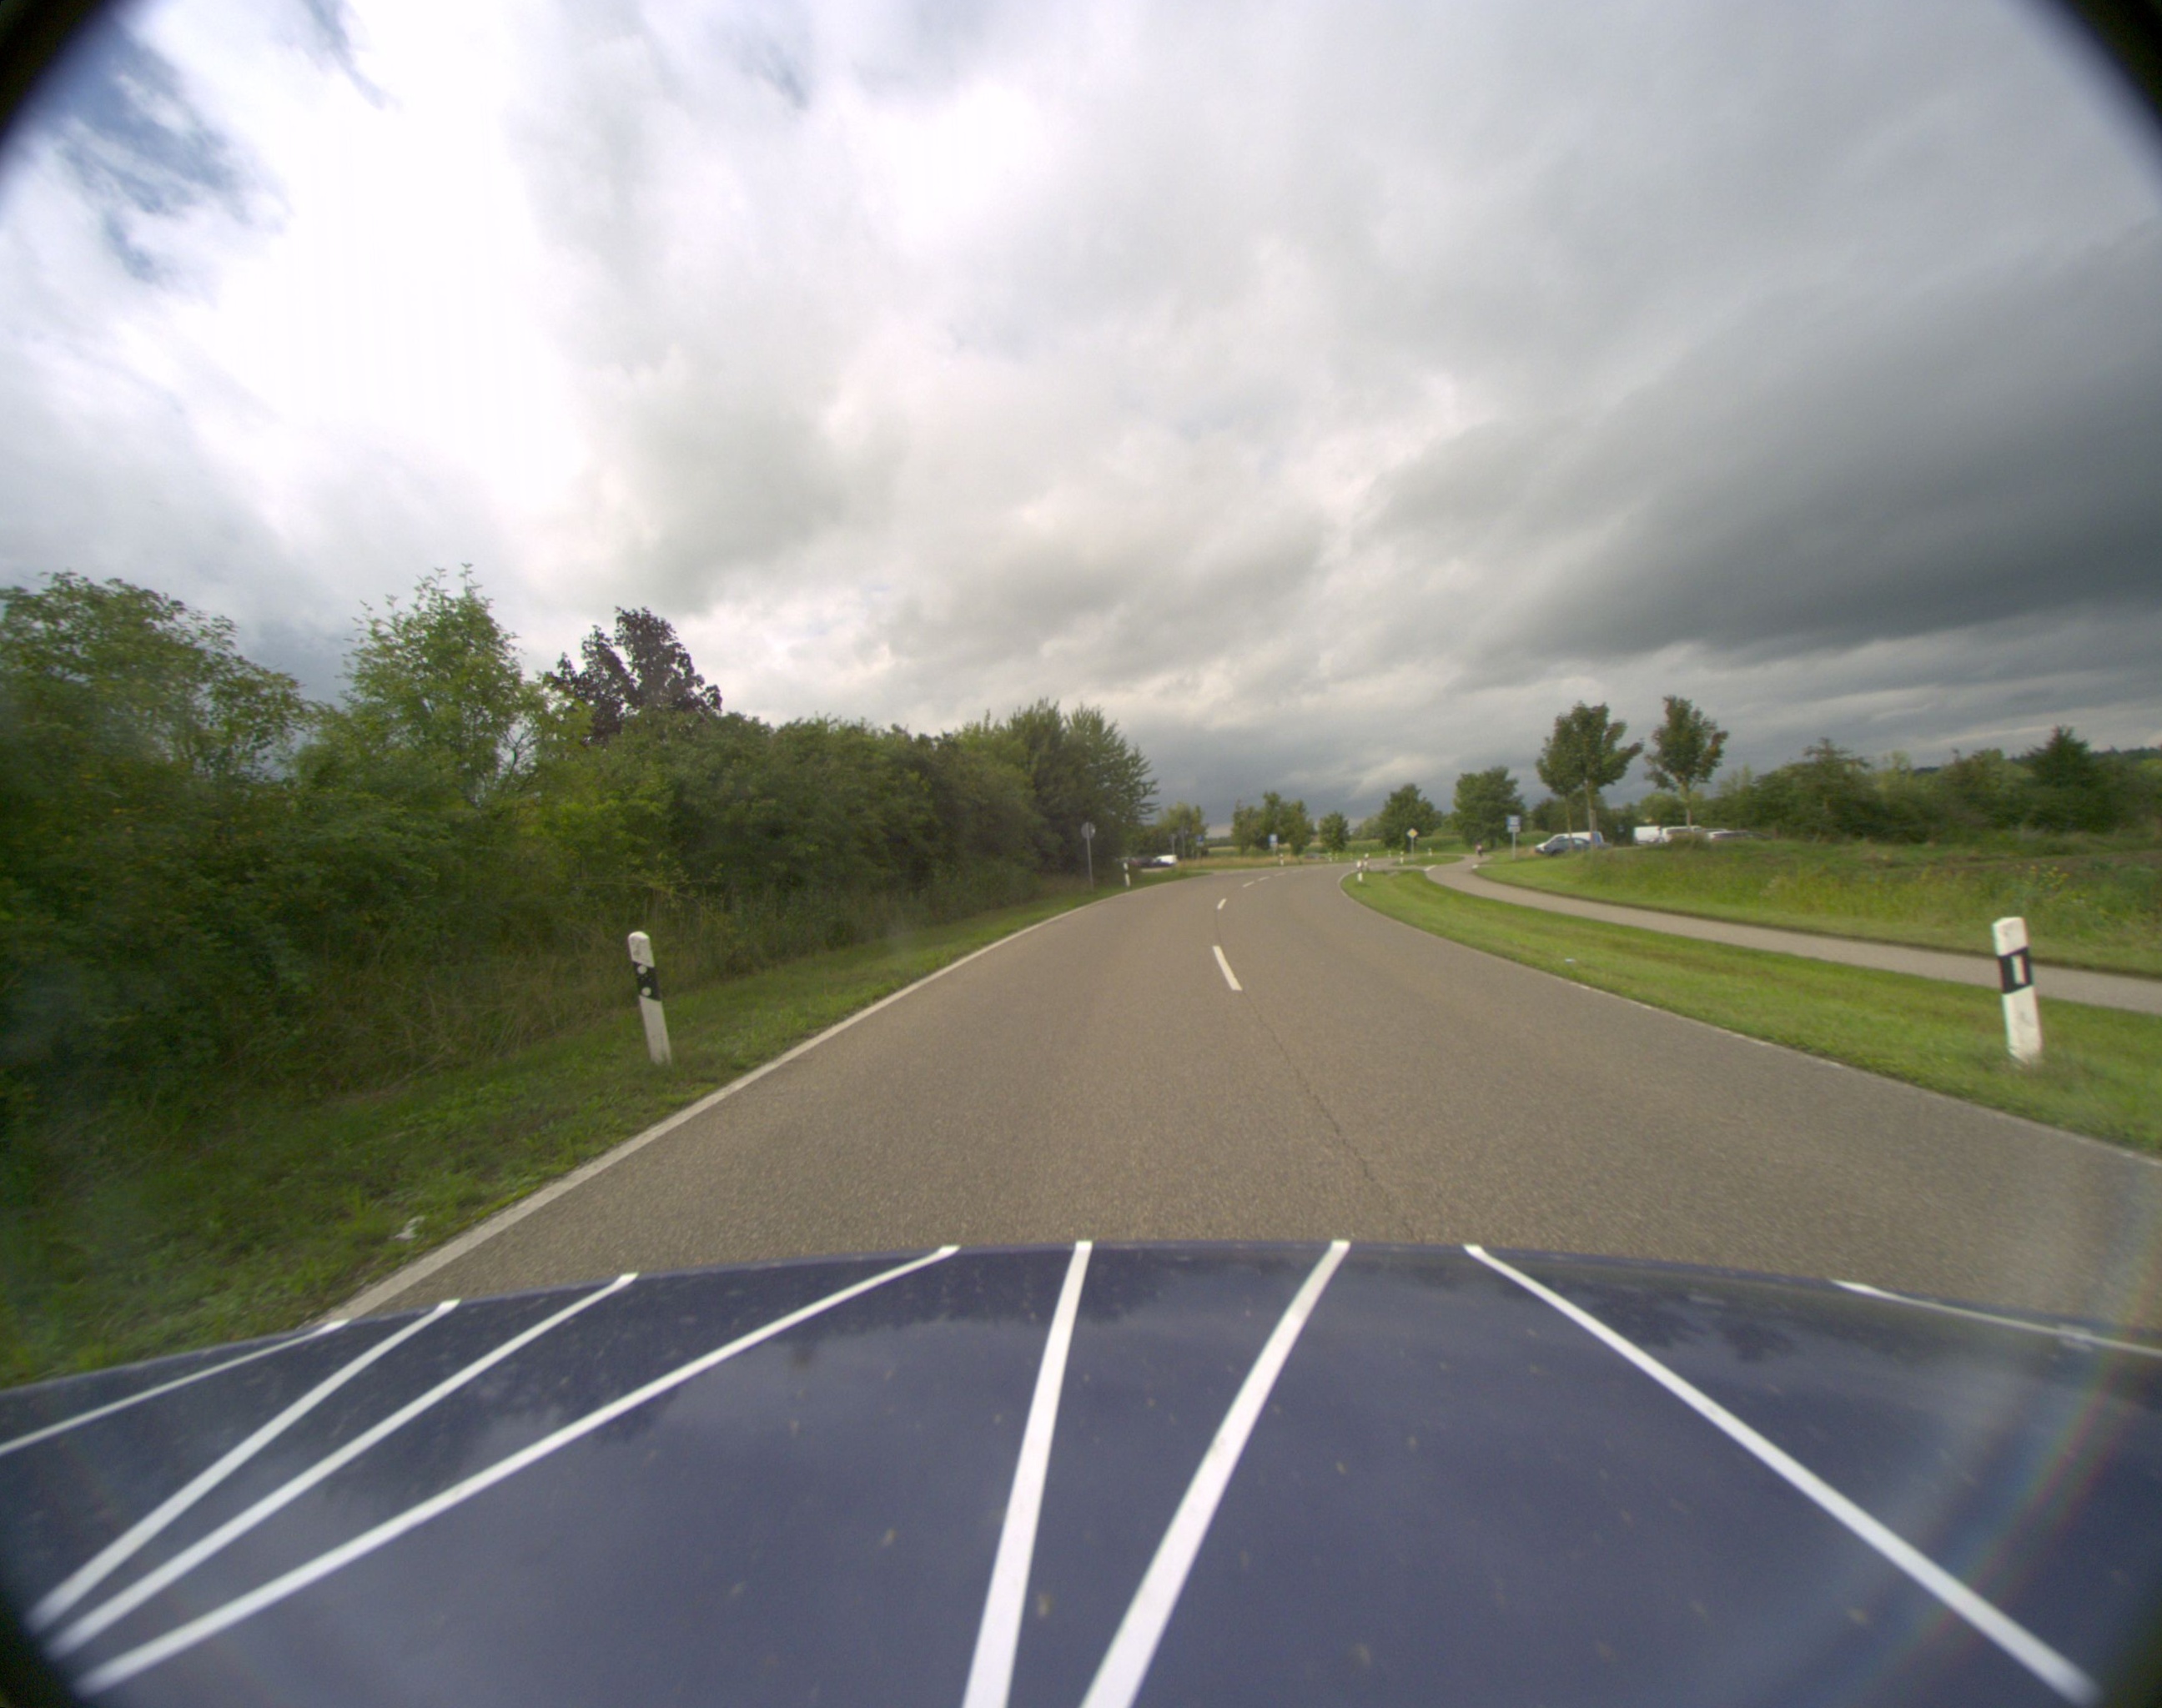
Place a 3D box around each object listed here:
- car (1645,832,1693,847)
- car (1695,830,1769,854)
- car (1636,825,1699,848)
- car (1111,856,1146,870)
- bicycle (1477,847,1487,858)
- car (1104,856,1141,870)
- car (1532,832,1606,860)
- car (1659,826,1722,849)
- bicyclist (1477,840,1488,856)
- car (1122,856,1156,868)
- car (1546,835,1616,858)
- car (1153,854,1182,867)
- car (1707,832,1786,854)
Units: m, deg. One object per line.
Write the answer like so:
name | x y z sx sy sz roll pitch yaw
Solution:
car | 66.854 -1.647 86.469 3.990 1.515 1.797 -3 0 29
car | 51.559 -0.937 60.275 3.991 1.542 1.969 -4 -1 24
car | 76.654 -2.292 99.442 6.319 2.604 2.205 -3 0 31
car | 5.993 1.129 95.622 4.002 1.496 2.054 -2 0 20
bicycle | 39.962 -0.190 75.719 0.636 1.026 2.195 -2 0 33
car | 5.061 1.091 92.220 4.158 1.406 2.002 -2 0 14
car | 39.653 -0.659 61.861 4.897 2.002 2.060 -3 0 30
car | 61.907 -1.642 77.284 4.685 1.914 2.065 -4 -1 29
bicyclist | 40.025 -0.616 75.789 0.831 1.556 1.057 -2 1 34
car | 7.736 1.052 101.242 3.991 1.488 2.003 -2 0 20
car | 37.607 -0.554 57.291 4.250 1.585 2.004 -3 0 31
car | 13.100 1.014 114.877 3.992 1.849 2.002 -2 0 18
car | 49.026 -0.790 56.065 3.991 1.379 1.845 -4 -1 24
